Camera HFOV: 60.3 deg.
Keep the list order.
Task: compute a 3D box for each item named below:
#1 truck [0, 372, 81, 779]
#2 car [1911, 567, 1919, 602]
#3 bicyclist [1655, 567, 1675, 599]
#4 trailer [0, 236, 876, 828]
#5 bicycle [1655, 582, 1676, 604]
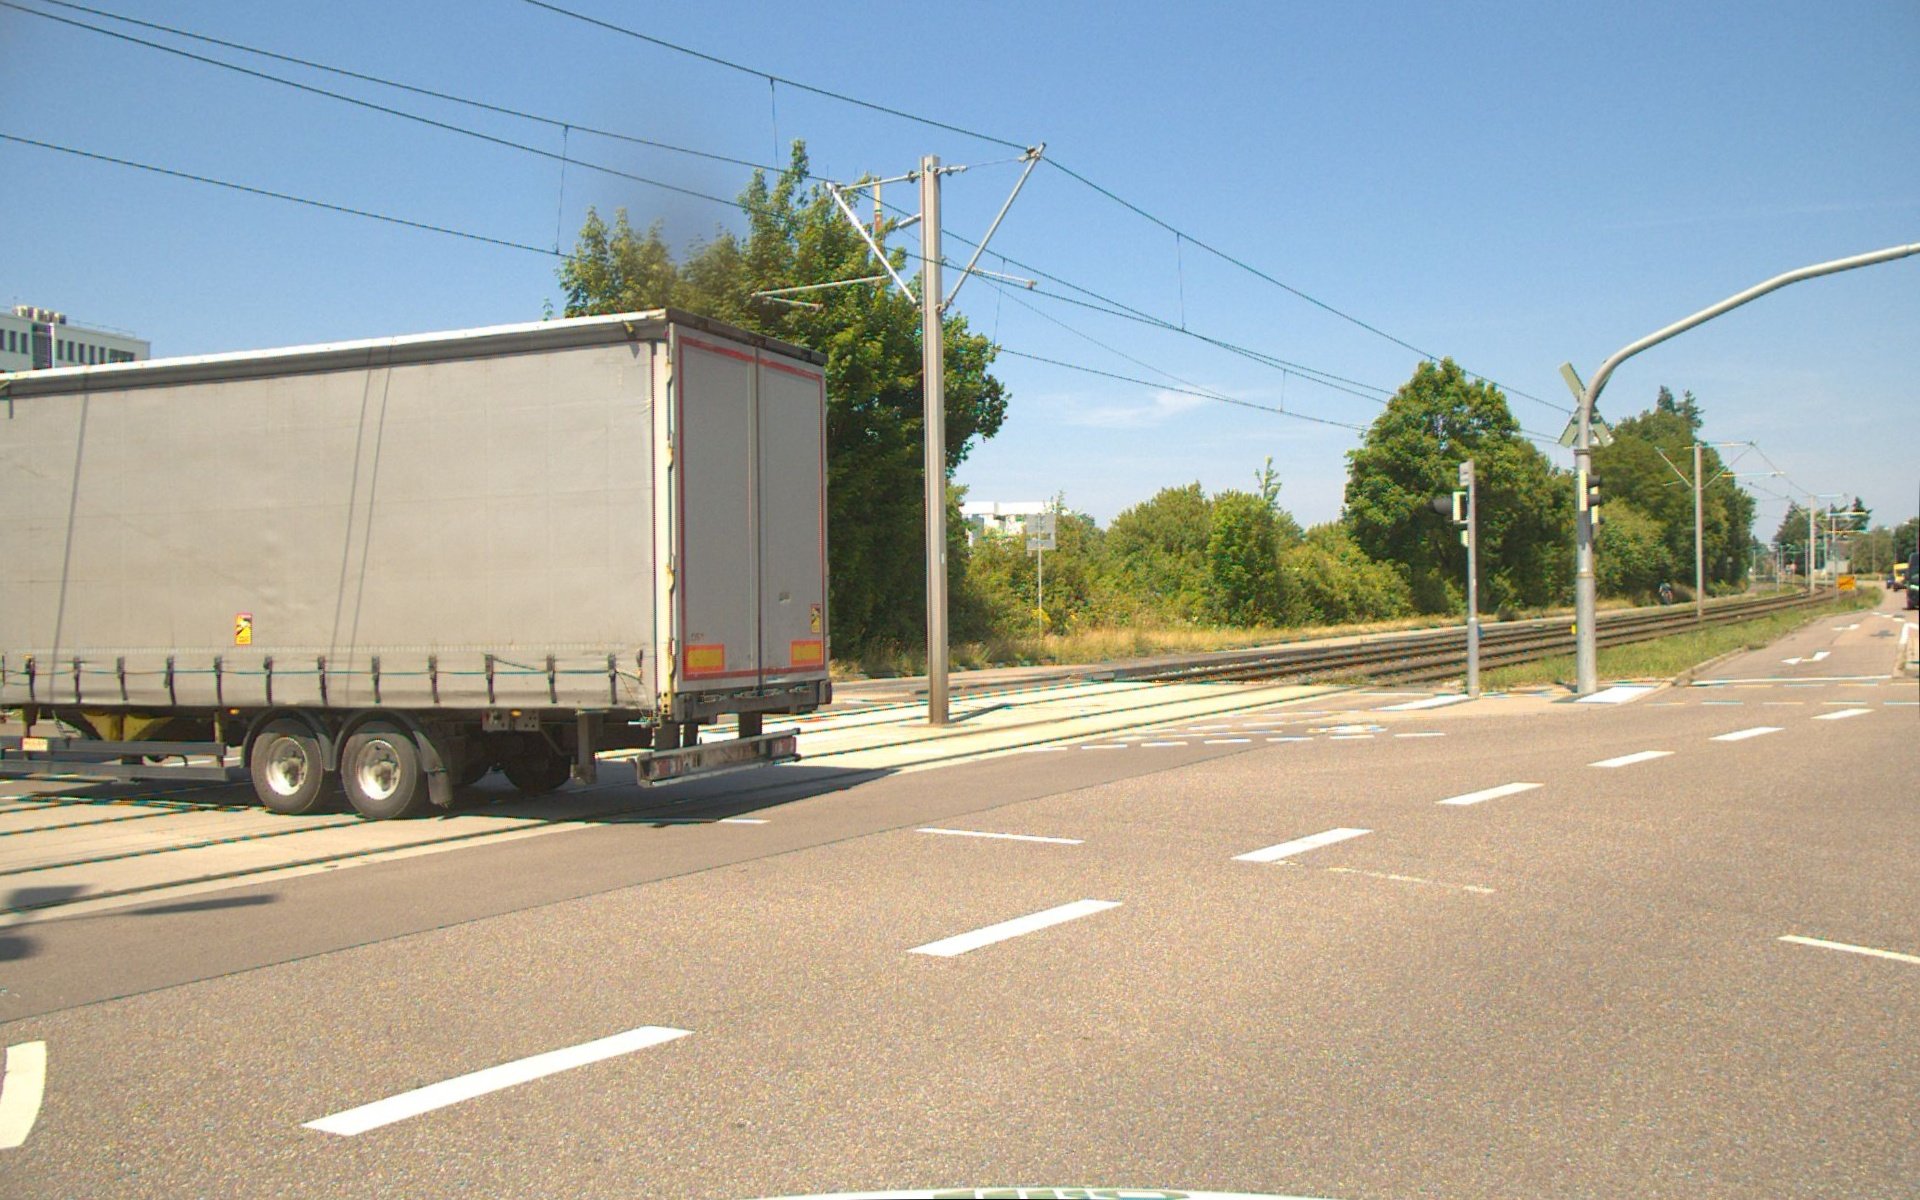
[{"bbox_3d":[-13.647,-0.186,16.899,7.765,4.141,3.089,-1,-1,4],"label":"truck"},{"bbox_3d":[45.171,-0.741,76.685,1.834,1.603,4.403,0,1,30],"label":"car"},{"bbox_3d":[46.368,-1.106,108.777,1.050,2.049,1.184,-4,-2,26],"label":"bicyclist"},{"bbox_3d":[-5.760,-0.371,14.862,9.577,4.141,3.086,-1,-1,23],"label":"trailer"},{"bbox_3d":[46.429,-0.459,108.837,1.039,1.369,2.694,-4,-1,25],"label":"bicycle"}]
